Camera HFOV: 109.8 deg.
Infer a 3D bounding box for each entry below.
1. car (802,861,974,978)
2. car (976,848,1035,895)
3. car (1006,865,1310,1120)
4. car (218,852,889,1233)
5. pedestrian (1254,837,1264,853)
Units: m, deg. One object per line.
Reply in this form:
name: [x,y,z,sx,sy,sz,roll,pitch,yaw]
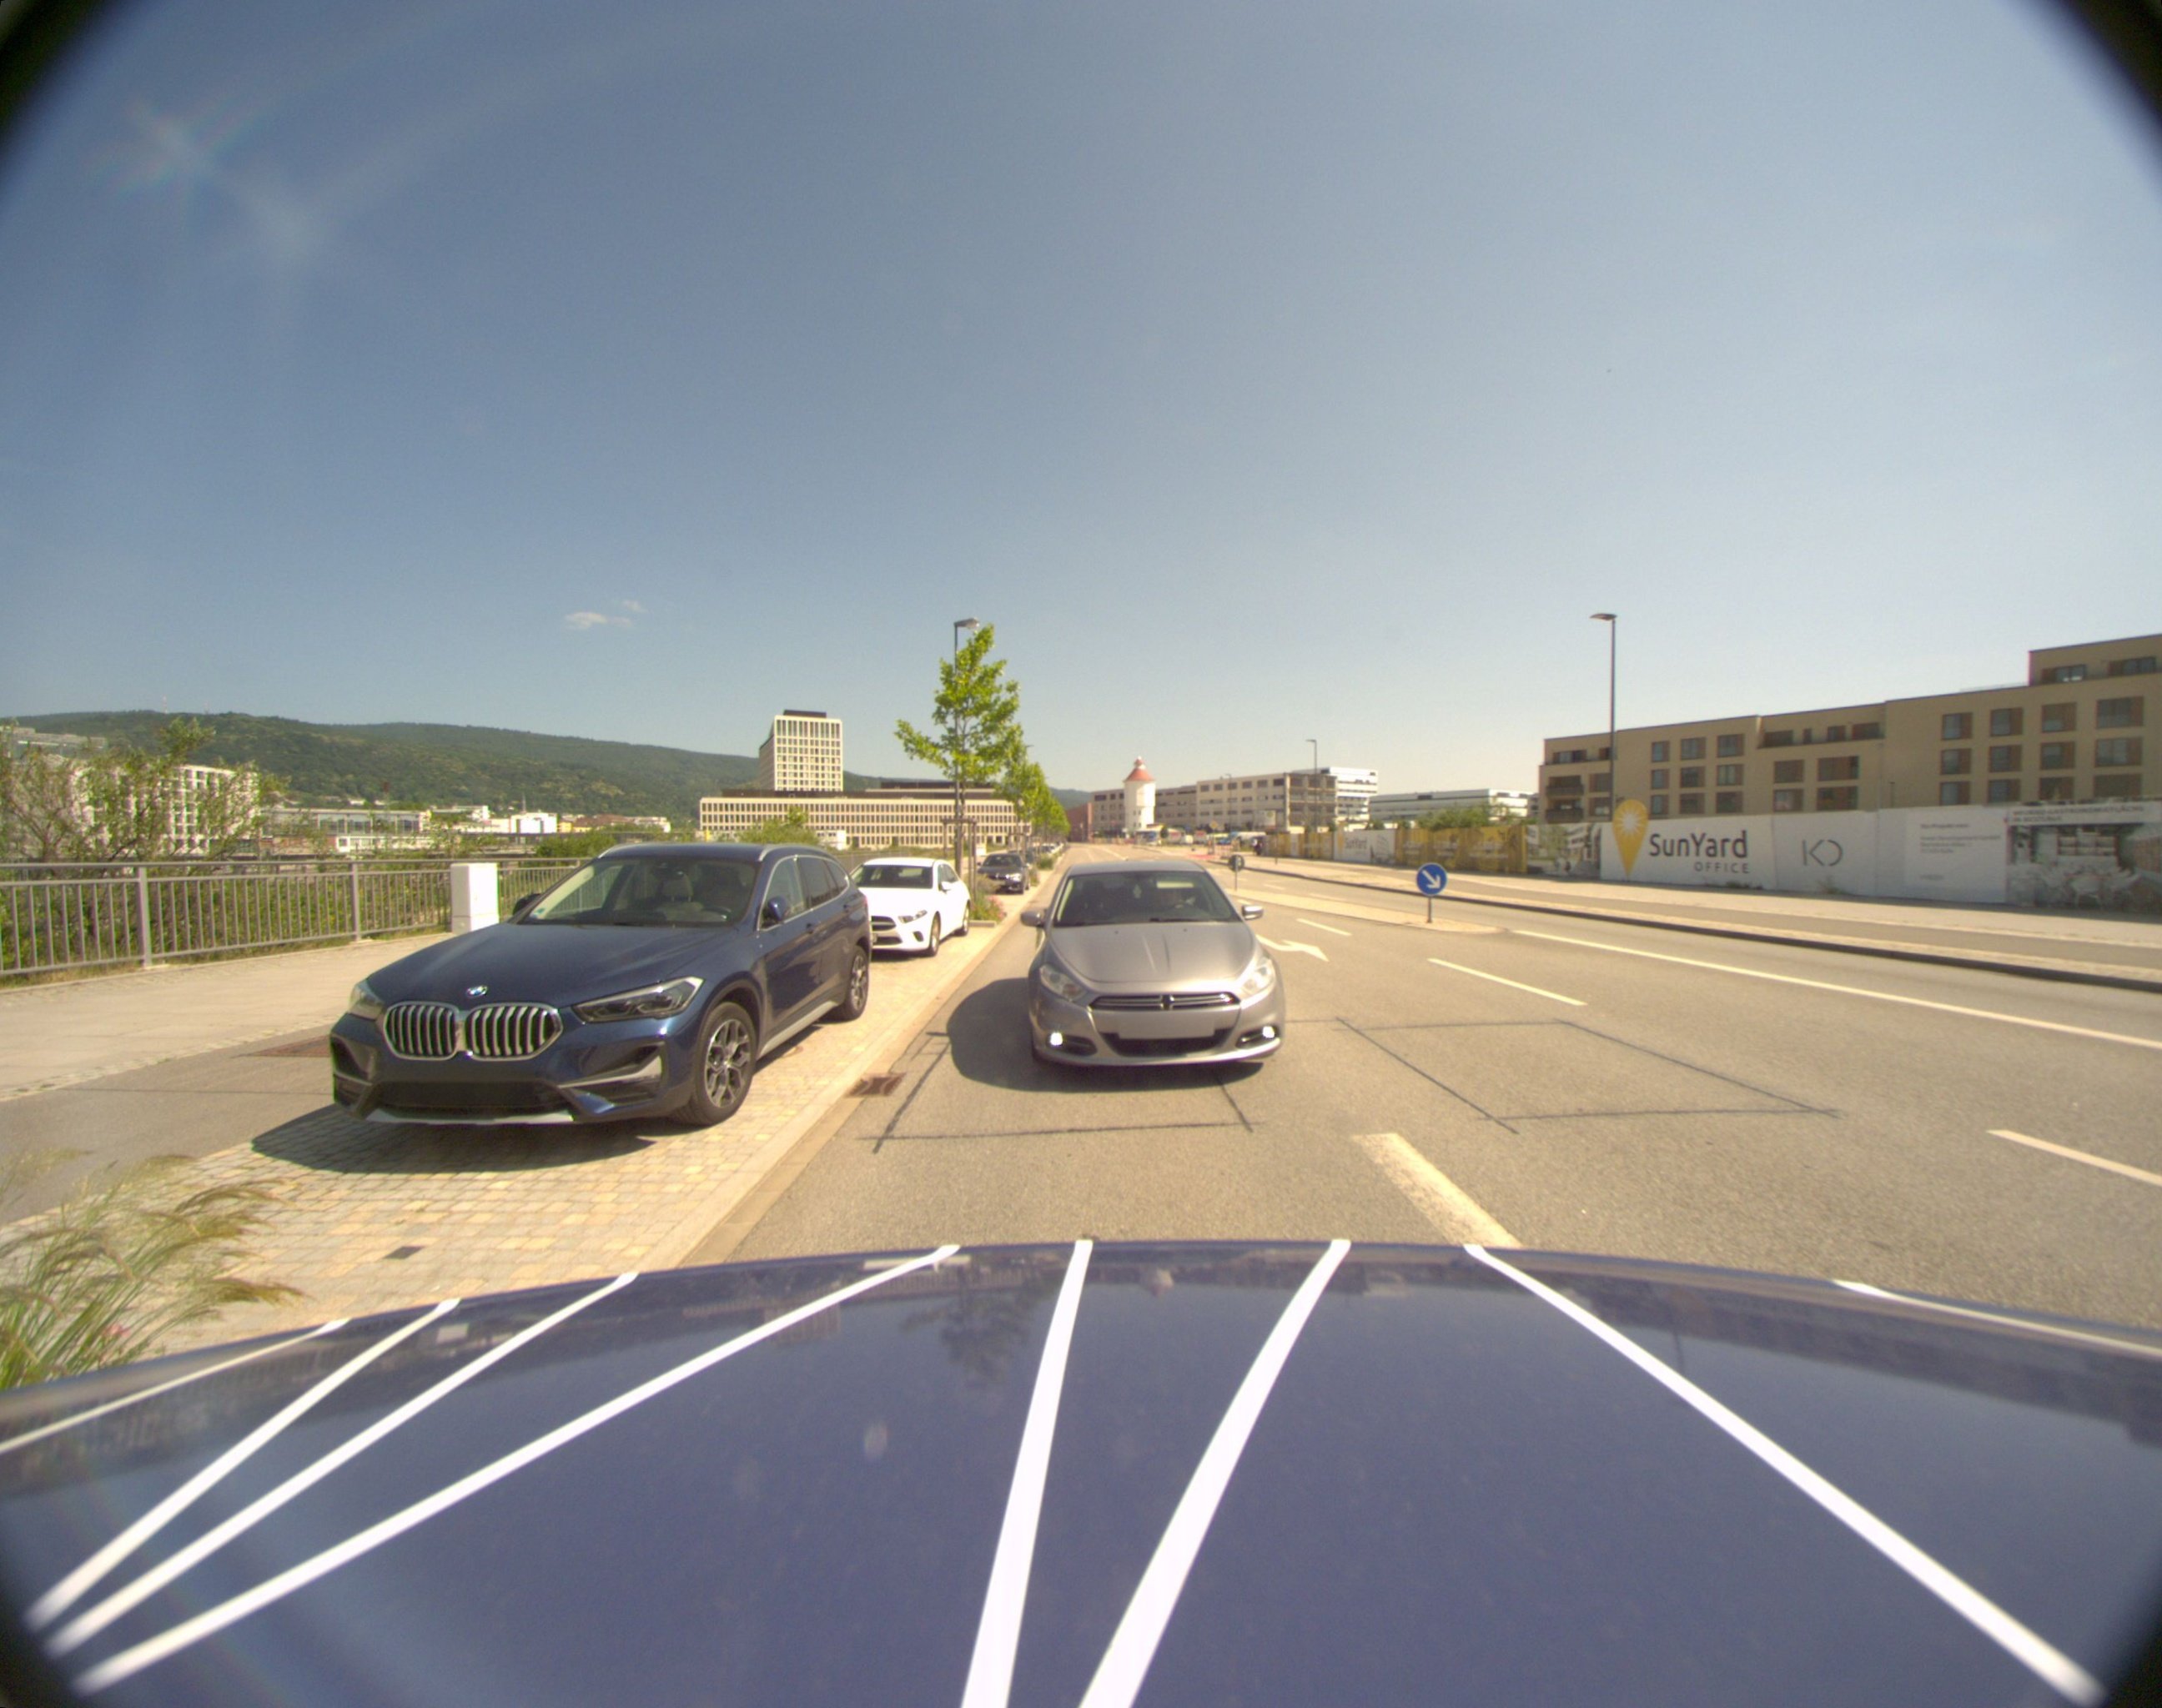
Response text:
car: [-2.903,0.908,12.335,1.664,1.447,3.999,-2,1,1]
car: [-2.708,0.596,27.974,1.664,1.529,3.999,-2,1,1]
car: [0.491,0.867,6.638,1.784,1.372,4.135,-2,1,1]
car: [-2.868,0.833,5.482,1.769,1.598,4.238,-2,1,1]
pedestrian: [18.245,-0.943,77.723,0.705,1.577,0.617,-3,1,-36]
